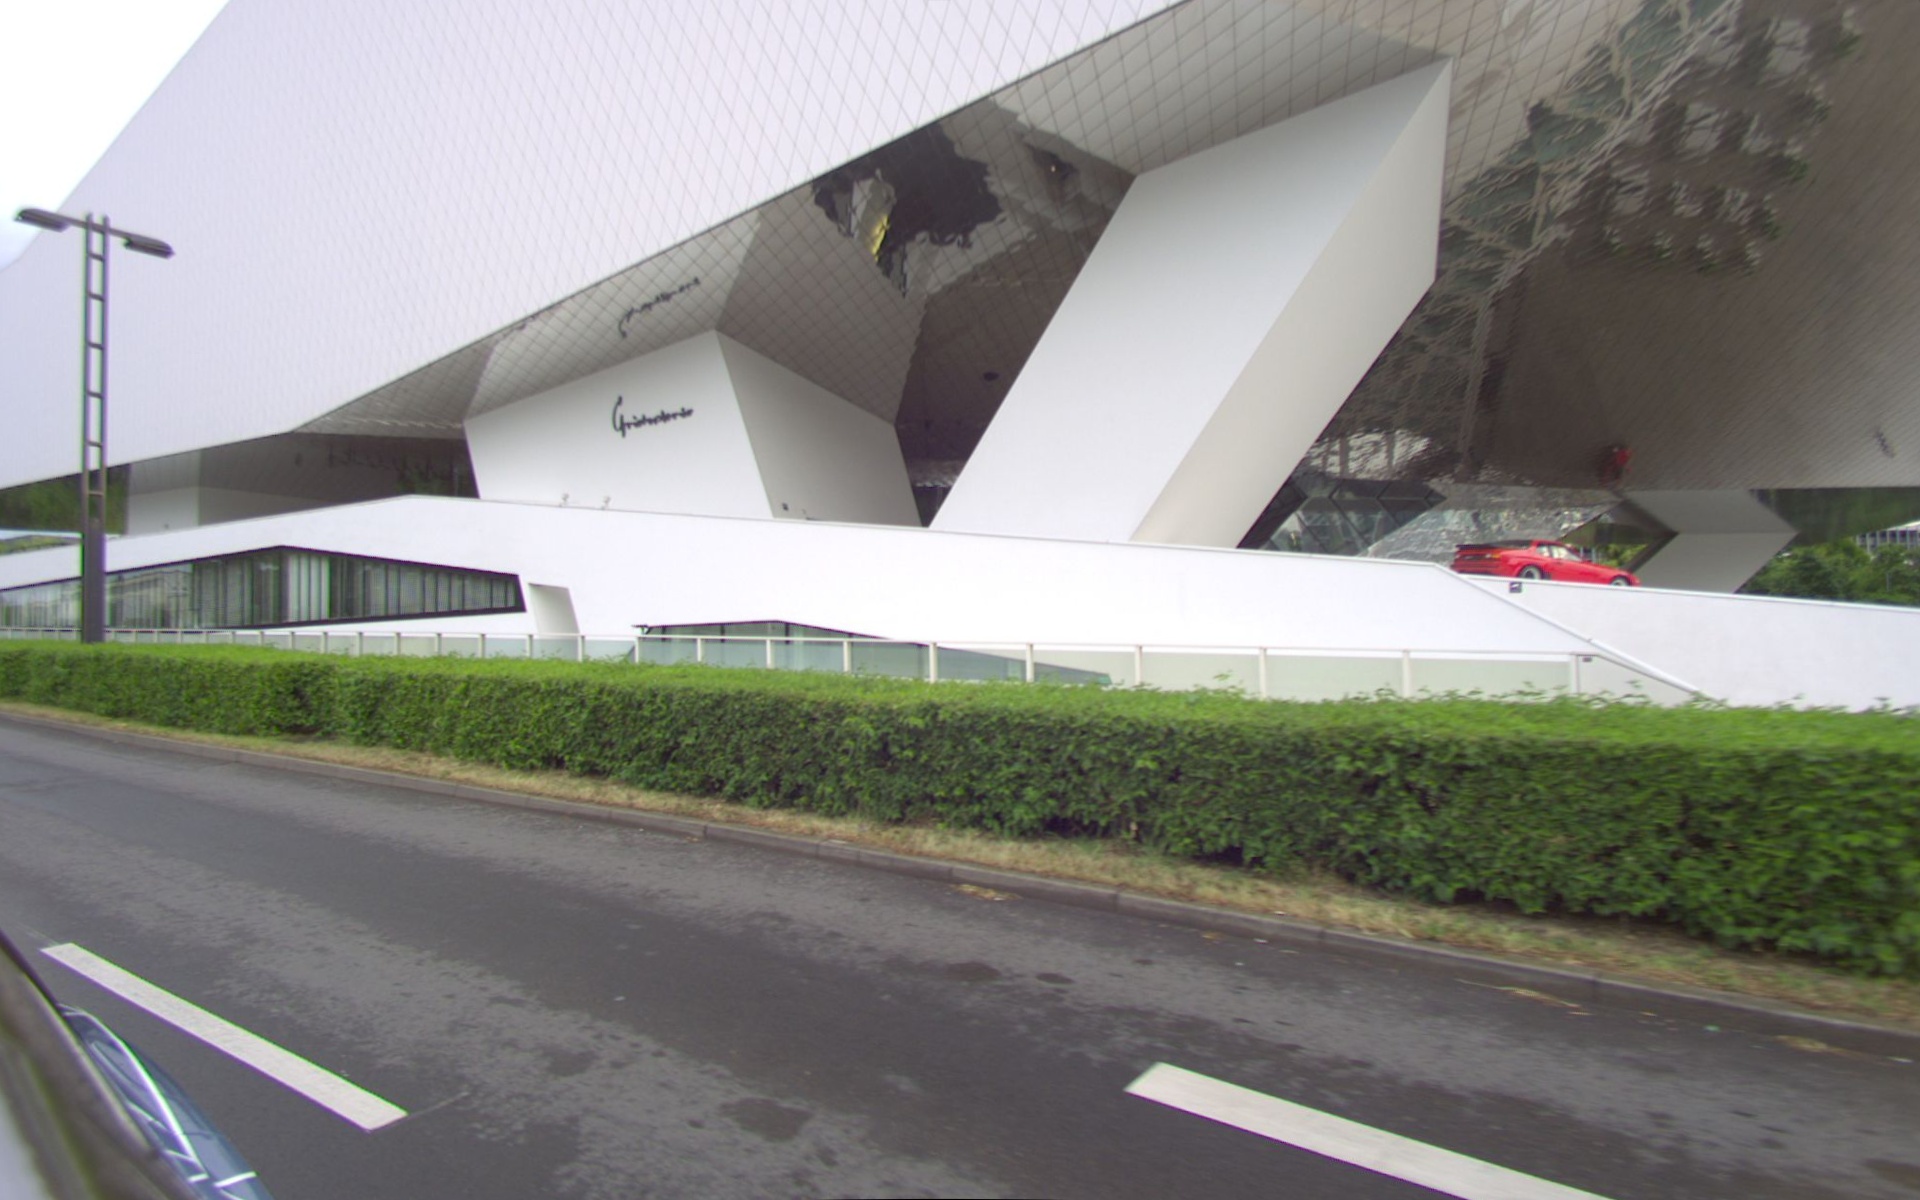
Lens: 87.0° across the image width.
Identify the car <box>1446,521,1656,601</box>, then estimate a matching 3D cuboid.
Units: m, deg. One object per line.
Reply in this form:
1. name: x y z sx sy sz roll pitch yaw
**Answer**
1. car: 13.620 -0.855 23.397 4.034 1.252 1.642 7 -3 -11
